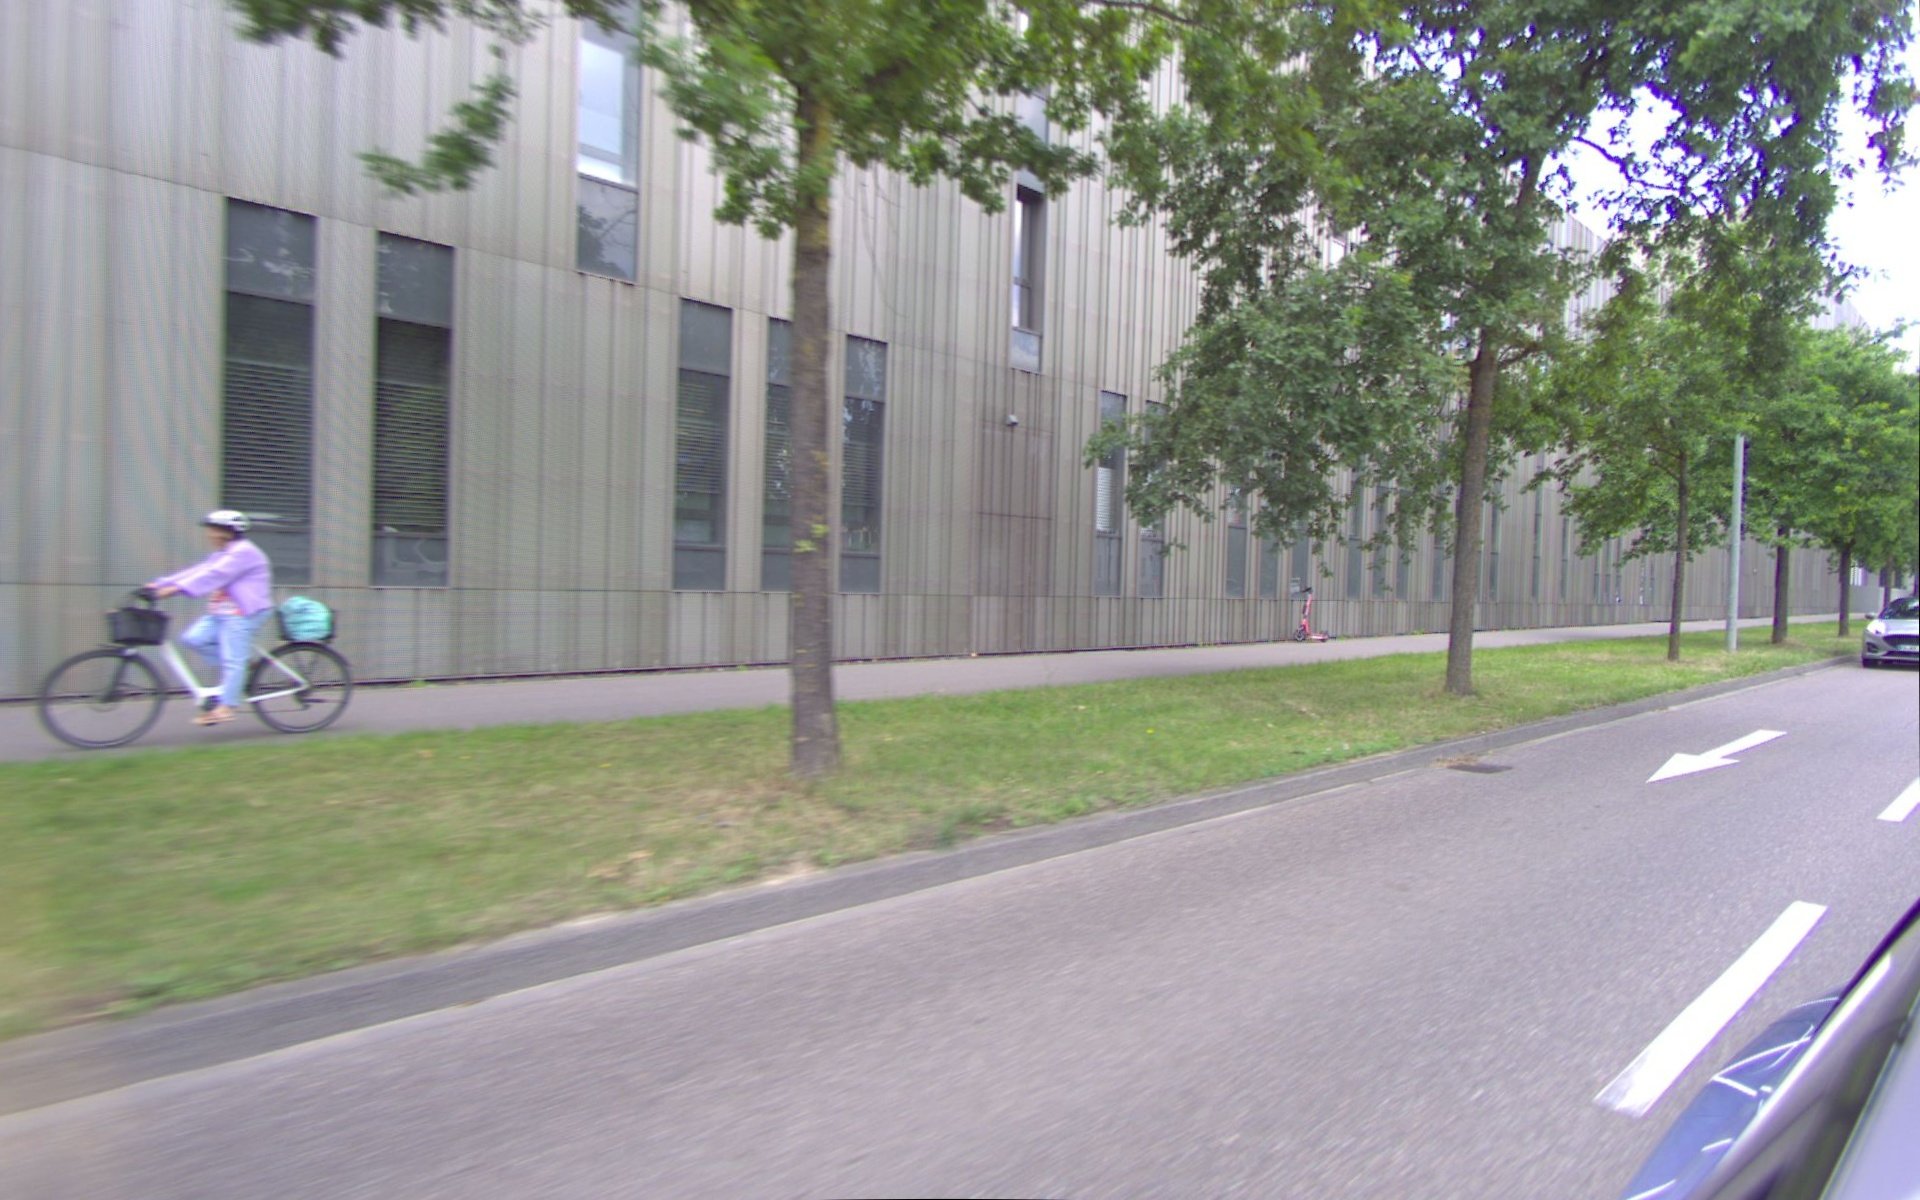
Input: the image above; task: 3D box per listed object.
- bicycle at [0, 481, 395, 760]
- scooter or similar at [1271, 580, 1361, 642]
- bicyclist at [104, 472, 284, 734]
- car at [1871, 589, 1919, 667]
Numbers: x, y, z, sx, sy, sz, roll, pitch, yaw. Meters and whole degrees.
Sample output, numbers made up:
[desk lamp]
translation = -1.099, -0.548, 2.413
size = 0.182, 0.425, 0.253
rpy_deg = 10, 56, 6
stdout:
[bicycle]
translation = -5.684, 0.114, 7.504
size = 2.492, 1.795, 0.720
rpy_deg = 0, 2, -45
[scooter or similar]
translation = 7.847, 0.232, 22.270
size = 2.436, 1.261, 0.706
rpy_deg = 0, 3, -41
[bicyclist]
translation = -5.675, 0.007, 7.506
size = 0.972, 1.790, 0.716
rpy_deg = 0, 2, -45
[car]
translation = 21.151, 0.575, 21.807
size = 3.885, 1.594, 1.822
rpy_deg = 0, 0, -41
